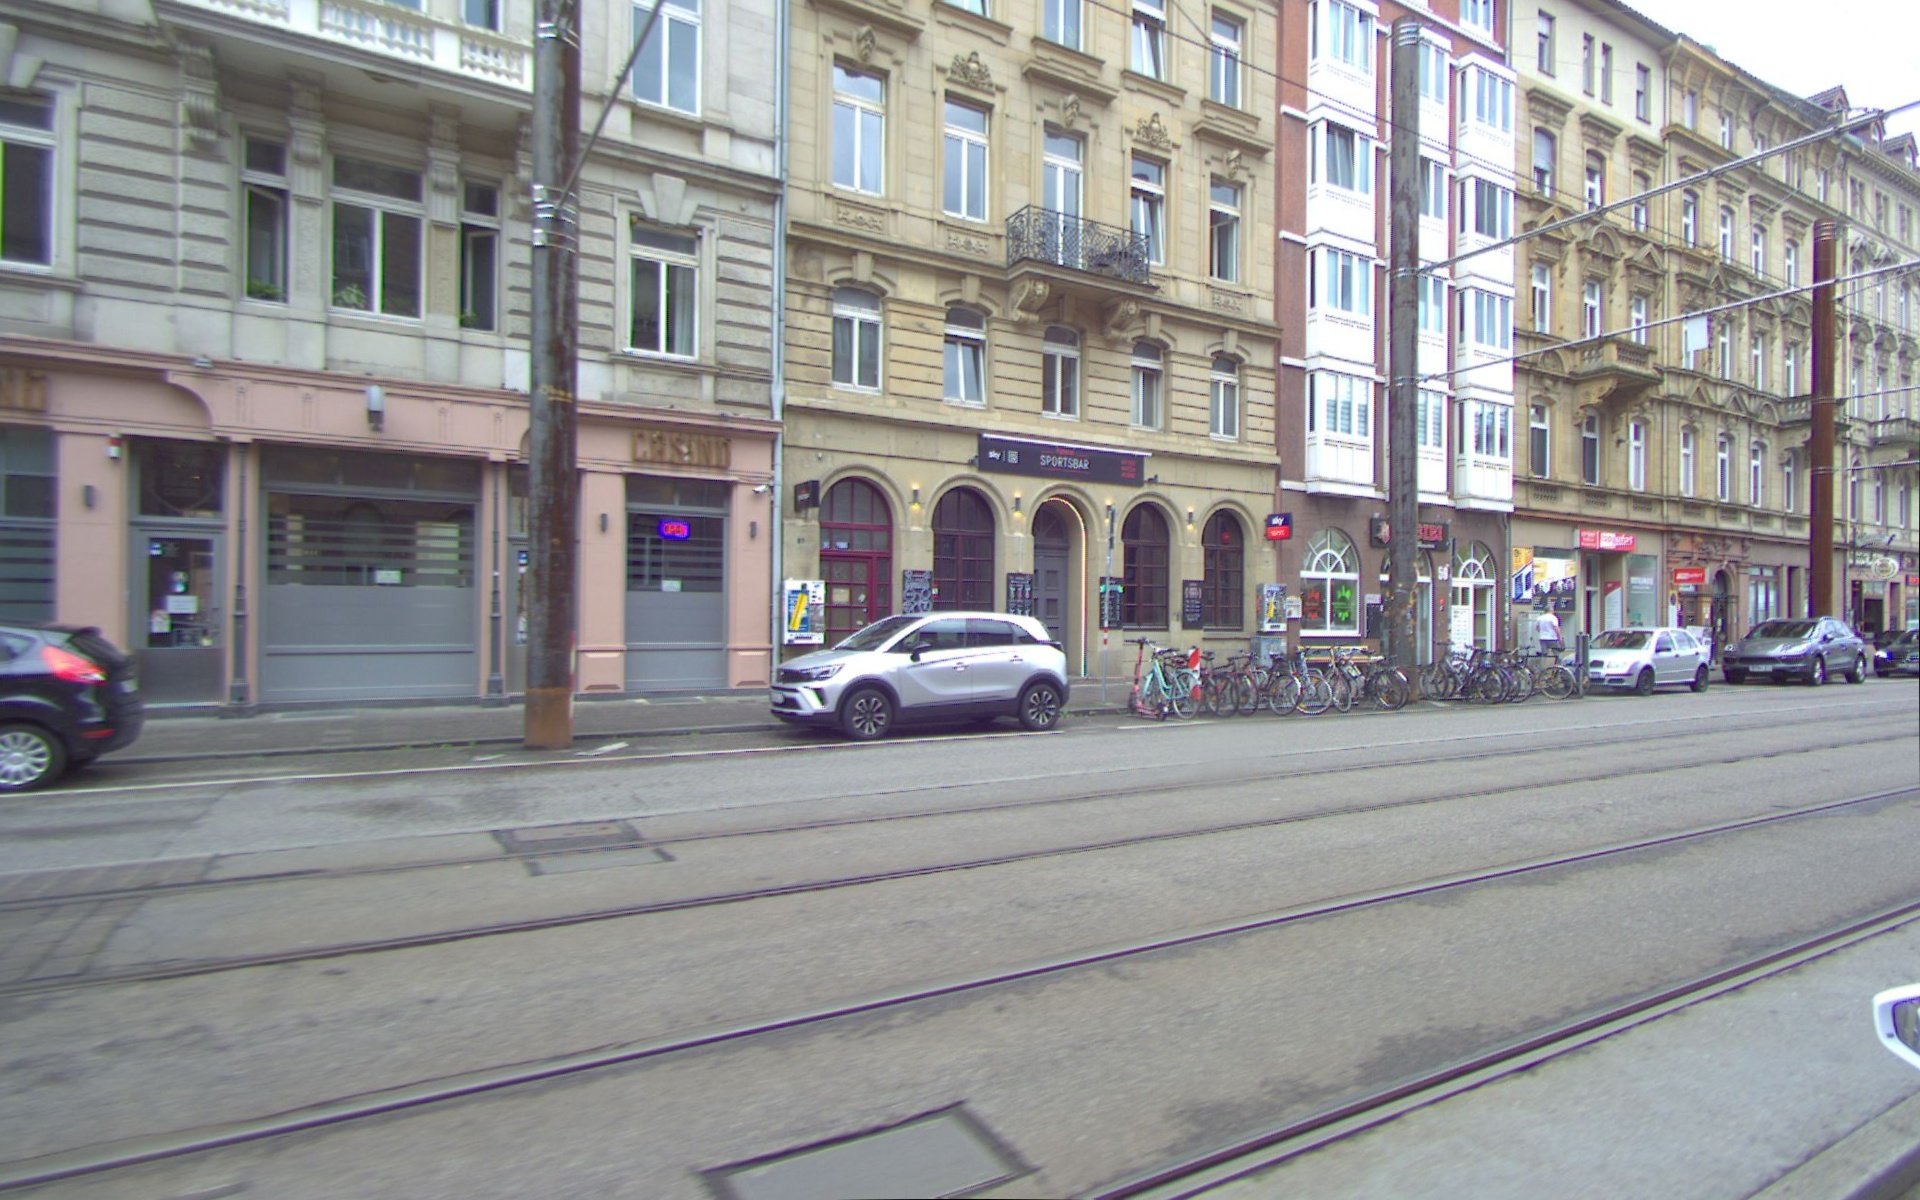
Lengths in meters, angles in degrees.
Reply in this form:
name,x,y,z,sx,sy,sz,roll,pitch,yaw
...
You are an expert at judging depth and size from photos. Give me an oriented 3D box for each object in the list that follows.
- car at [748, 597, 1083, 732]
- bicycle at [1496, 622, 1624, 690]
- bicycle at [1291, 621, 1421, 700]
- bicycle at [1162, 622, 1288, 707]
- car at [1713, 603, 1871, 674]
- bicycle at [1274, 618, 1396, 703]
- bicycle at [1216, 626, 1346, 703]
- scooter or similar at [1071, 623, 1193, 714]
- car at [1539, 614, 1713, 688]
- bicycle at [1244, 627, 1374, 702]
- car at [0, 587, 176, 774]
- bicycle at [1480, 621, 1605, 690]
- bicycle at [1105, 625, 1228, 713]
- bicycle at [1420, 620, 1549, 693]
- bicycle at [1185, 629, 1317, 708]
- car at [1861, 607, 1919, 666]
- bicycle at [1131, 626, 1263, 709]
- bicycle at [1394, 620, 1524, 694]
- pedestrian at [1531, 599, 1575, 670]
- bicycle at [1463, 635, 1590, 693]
name,x,y,z,sx,sy,sz,roll,pitch,yaw
car,-0.548,0.780,13.456,4.176,1.553,1.735,0,-1,-31
bicycle,12.571,1.162,21.138,0.658,1.347,2.273,0,-2,-29
bicycle,7.112,1.072,18.182,0.658,1.347,2.273,0,-2,-29
bicycle,4.262,1.010,16.379,0.534,1.219,2.272,2,0,-29
car,21.913,0.977,26.400,4.977,1.712,1.803,0,-2,-33
bicycle,6.625,1.036,17.891,0.443,1.311,2.272,0,1,-29
bicycle,5.441,1.077,17.189,0.658,1.219,2.273,0,-2,-29
scooter or similar,2.587,1.005,15.421,0.541,1.219,2.272,0,1,-29
car,14.803,1.076,22.300,3.875,1.508,1.735,0,-1,-31
bicycle,6.048,1.105,17.548,0.658,1.219,2.273,0,-2,-29
car,-9.117,0.662,8.326,3.873,1.508,1.736,0,-1,-30
bicycle,11.978,1.140,20.736,0.515,1.347,2.273,0,-2,-29
bicycle,3.167,1.030,15.667,0.541,1.219,2.272,0,0,-29
bicycle,10.311,1.100,19.853,0.658,1.347,2.273,0,-2,-29
bicycle,4.802,1.115,16.759,0.696,1.219,2.273,0,-2,-29
car,29.723,1.102,30.666,4.995,1.711,1.910,1,-3,-32
bicycle,3.732,1.051,16.044,0.696,1.219,2.273,0,-2,-29
bicycle,9.600,1.093,19.447,0.658,1.347,2.273,0,-2,-29
pedestrian,15.409,0.875,26.119,0.769,1.806,0.655,1,0,7
bicycle,11.470,1.270,20.445,0.612,1.055,2.272,0,0,-29
